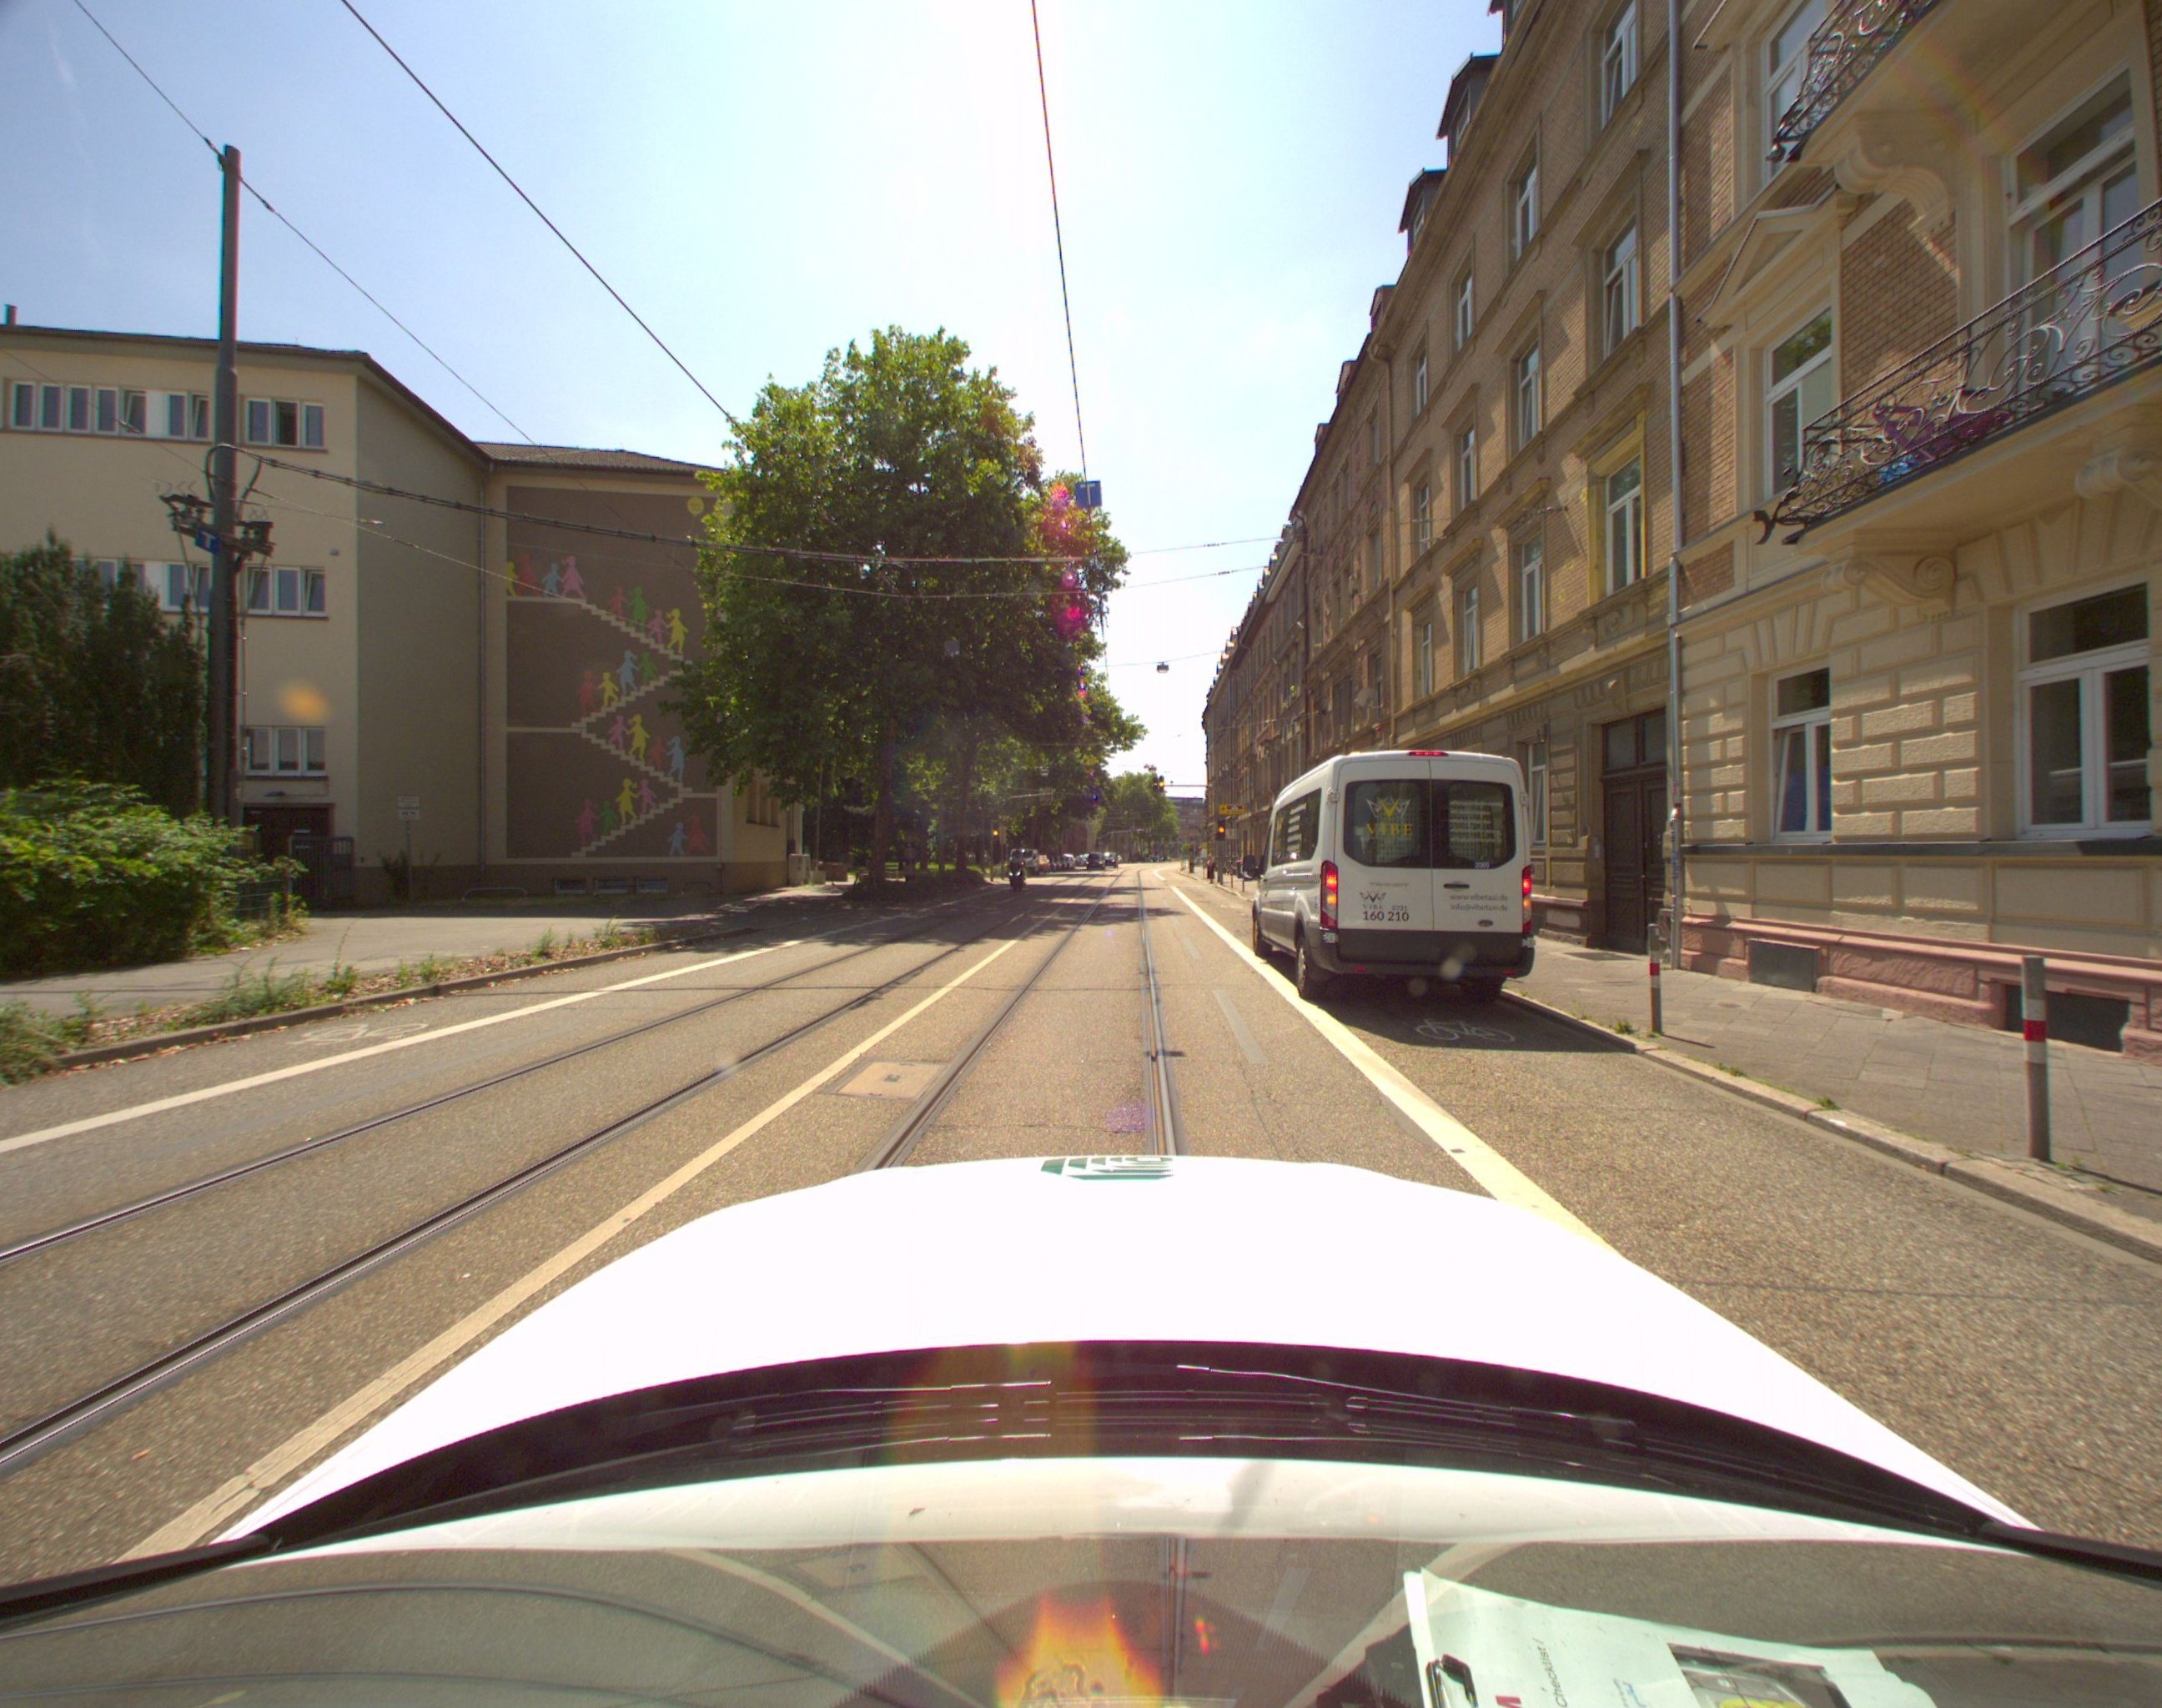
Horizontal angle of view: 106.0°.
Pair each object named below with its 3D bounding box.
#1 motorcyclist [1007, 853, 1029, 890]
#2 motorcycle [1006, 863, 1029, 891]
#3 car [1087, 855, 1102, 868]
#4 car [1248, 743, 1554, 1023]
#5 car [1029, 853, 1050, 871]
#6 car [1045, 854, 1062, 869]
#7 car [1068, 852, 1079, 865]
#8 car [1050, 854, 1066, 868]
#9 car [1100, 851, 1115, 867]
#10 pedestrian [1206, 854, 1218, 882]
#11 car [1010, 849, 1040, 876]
[{"bbox_3d":[-2.658,0.731,34.380,0.939,1.532,0.500,0,0,-4],"label":"motorcyclist"},{"bbox_3d":[-2.644,0.940,34.084,0.946,1.114,1.600,0,0,-3],"label":"motorcycle"},{"bbox_3d":[1.423,0.803,86.884,1.522,1.408,3.491,0,0,2],"label":"car"},{"bbox_3d":[3.442,0.246,10.078,2.057,2.501,5.461,1,0,5],"label":"car"},{"bbox_3d":[-3.594,0.688,71.093,1.449,1.496,3.664,0,0,2],"label":"car"},{"bbox_3d":[-2.759,0.714,81.644,1.449,1.496,3.664,0,0,2],"label":"car"},{"bbox_3d":[-0.998,0.629,110.587,1.449,1.731,3.195,0,0,2],"label":"car"},{"bbox_3d":[-2.460,0.755,87.392,1.449,1.496,3.664,0,0,2],"label":"car"},{"bbox_3d":[3.161,0.585,98.094,1.668,1.860,4.001,0,0,1],"label":"car"},{"bbox_3d":[7.312,0.794,45.593,0.616,1.539,0.464,0,0,1],"label":"pedestrian"},{"bbox_3d":[-4.149,0.612,60.869,1.793,1.923,4.002,0,0,2],"label":"car"}]
